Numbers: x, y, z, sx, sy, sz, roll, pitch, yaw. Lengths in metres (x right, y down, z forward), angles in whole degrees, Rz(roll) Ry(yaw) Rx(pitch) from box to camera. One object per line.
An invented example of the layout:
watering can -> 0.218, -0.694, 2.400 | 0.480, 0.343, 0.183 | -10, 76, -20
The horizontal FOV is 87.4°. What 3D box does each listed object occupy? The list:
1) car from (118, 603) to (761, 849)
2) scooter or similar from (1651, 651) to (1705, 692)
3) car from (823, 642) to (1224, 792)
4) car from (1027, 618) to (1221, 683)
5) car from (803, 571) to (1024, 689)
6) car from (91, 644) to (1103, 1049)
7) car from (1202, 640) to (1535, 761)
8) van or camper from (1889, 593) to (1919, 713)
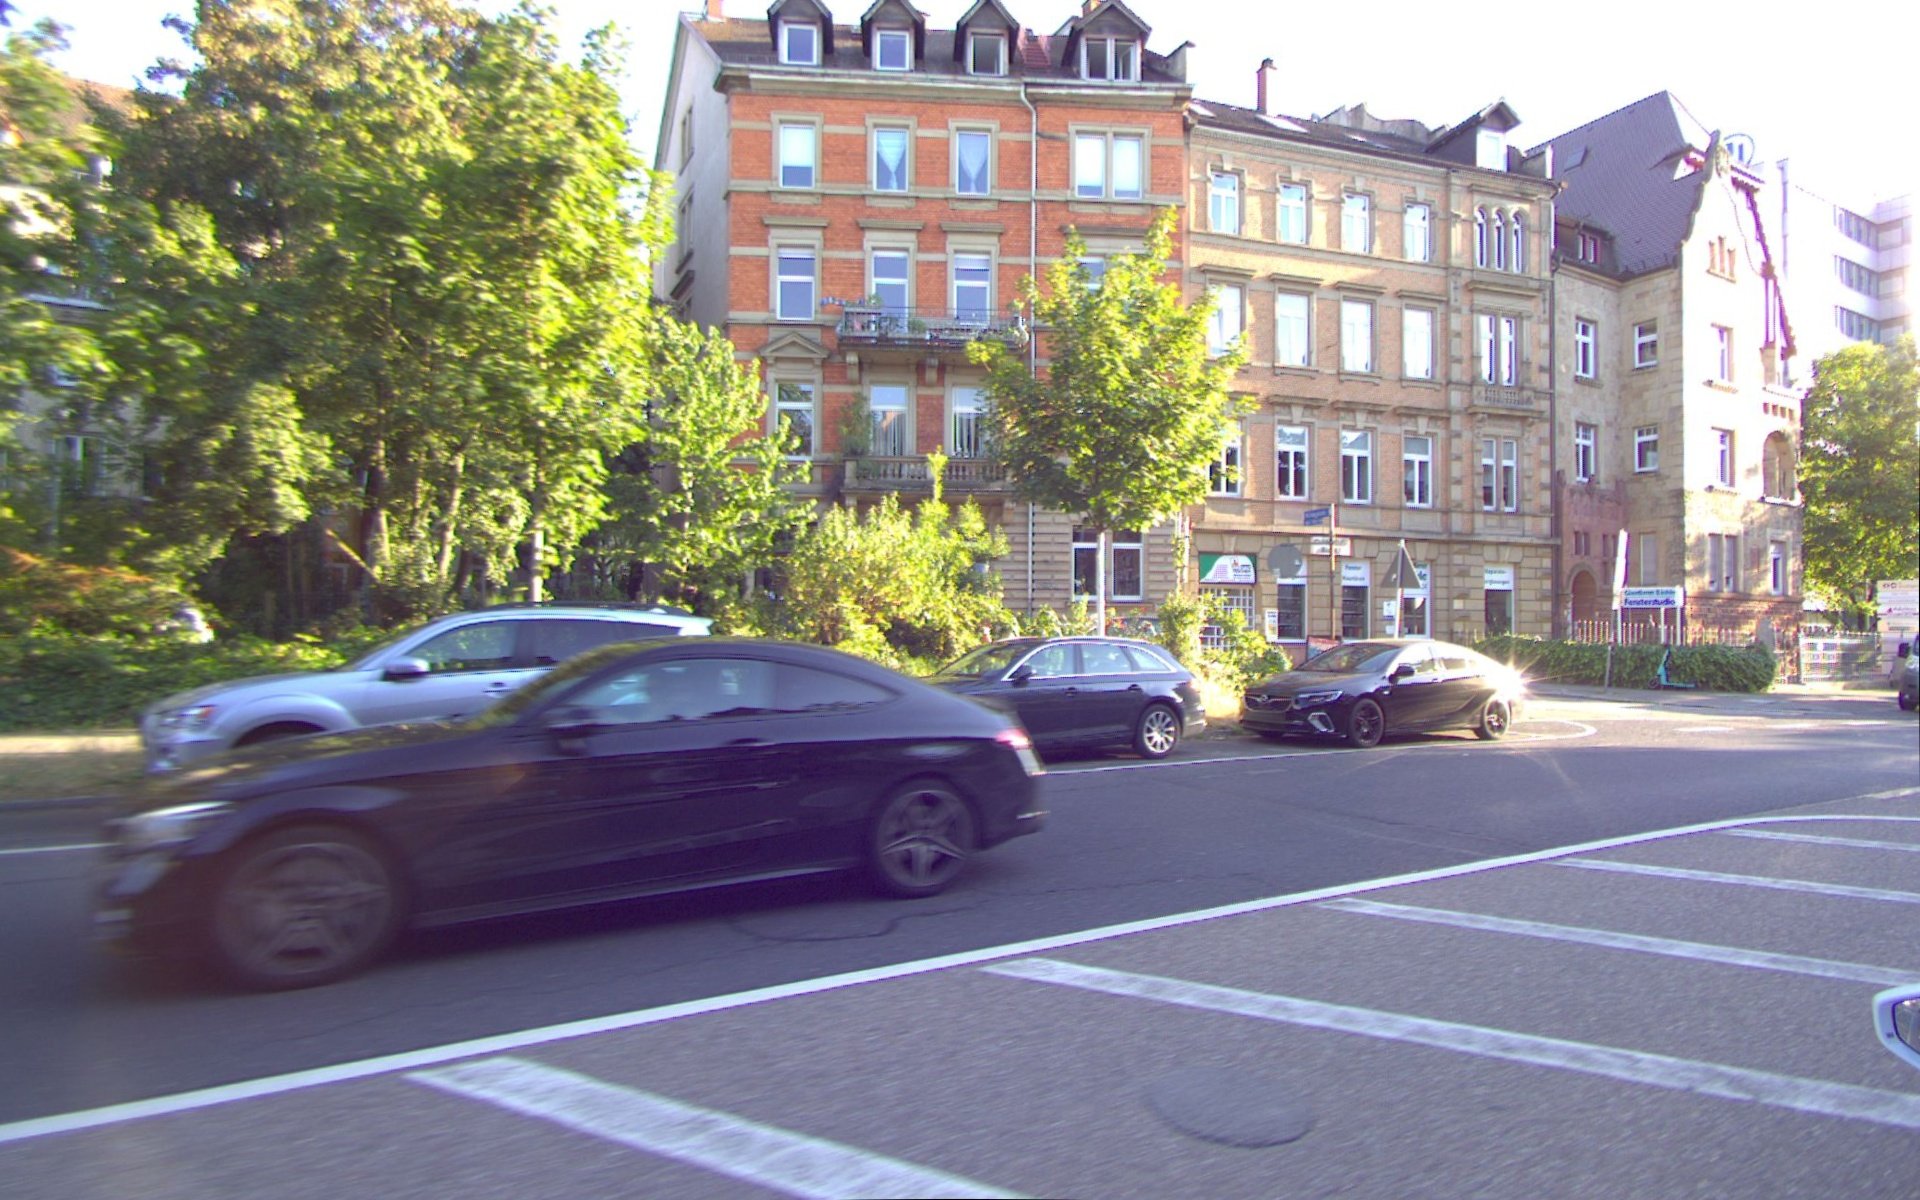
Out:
car -> -4.206, 0.946, 8.779 | 4.517, 1.666, 1.857 | 1, -3, -30
scooter or similar -> 18.908, 1.886, 26.465 | 1.095, 1.071, 0.288 | -1, -3, 13
car -> 0.831, 1.241, 11.880 | 4.570, 1.464, 1.728 | 1, -2, -30
car -> 4.071, 1.275, 25.445 | 4.476, 1.557, 1.999 | 0, -3, -6
car -> -1.156, 0.755, 24.832 | 5.208, 2.775, 2.126 | 0, -3, -4
car -> -1.549, 0.957, 5.465 | 4.490, 1.420, 1.758 | 1, -3, -30
car -> 5.985, 1.334, 14.581 | 4.772, 1.503, 1.985 | 1, -2, -30
van or camper -> 24.323, 1.264, 23.869 | 5.975, 2.704, 1.981 | 1, -1, -34
